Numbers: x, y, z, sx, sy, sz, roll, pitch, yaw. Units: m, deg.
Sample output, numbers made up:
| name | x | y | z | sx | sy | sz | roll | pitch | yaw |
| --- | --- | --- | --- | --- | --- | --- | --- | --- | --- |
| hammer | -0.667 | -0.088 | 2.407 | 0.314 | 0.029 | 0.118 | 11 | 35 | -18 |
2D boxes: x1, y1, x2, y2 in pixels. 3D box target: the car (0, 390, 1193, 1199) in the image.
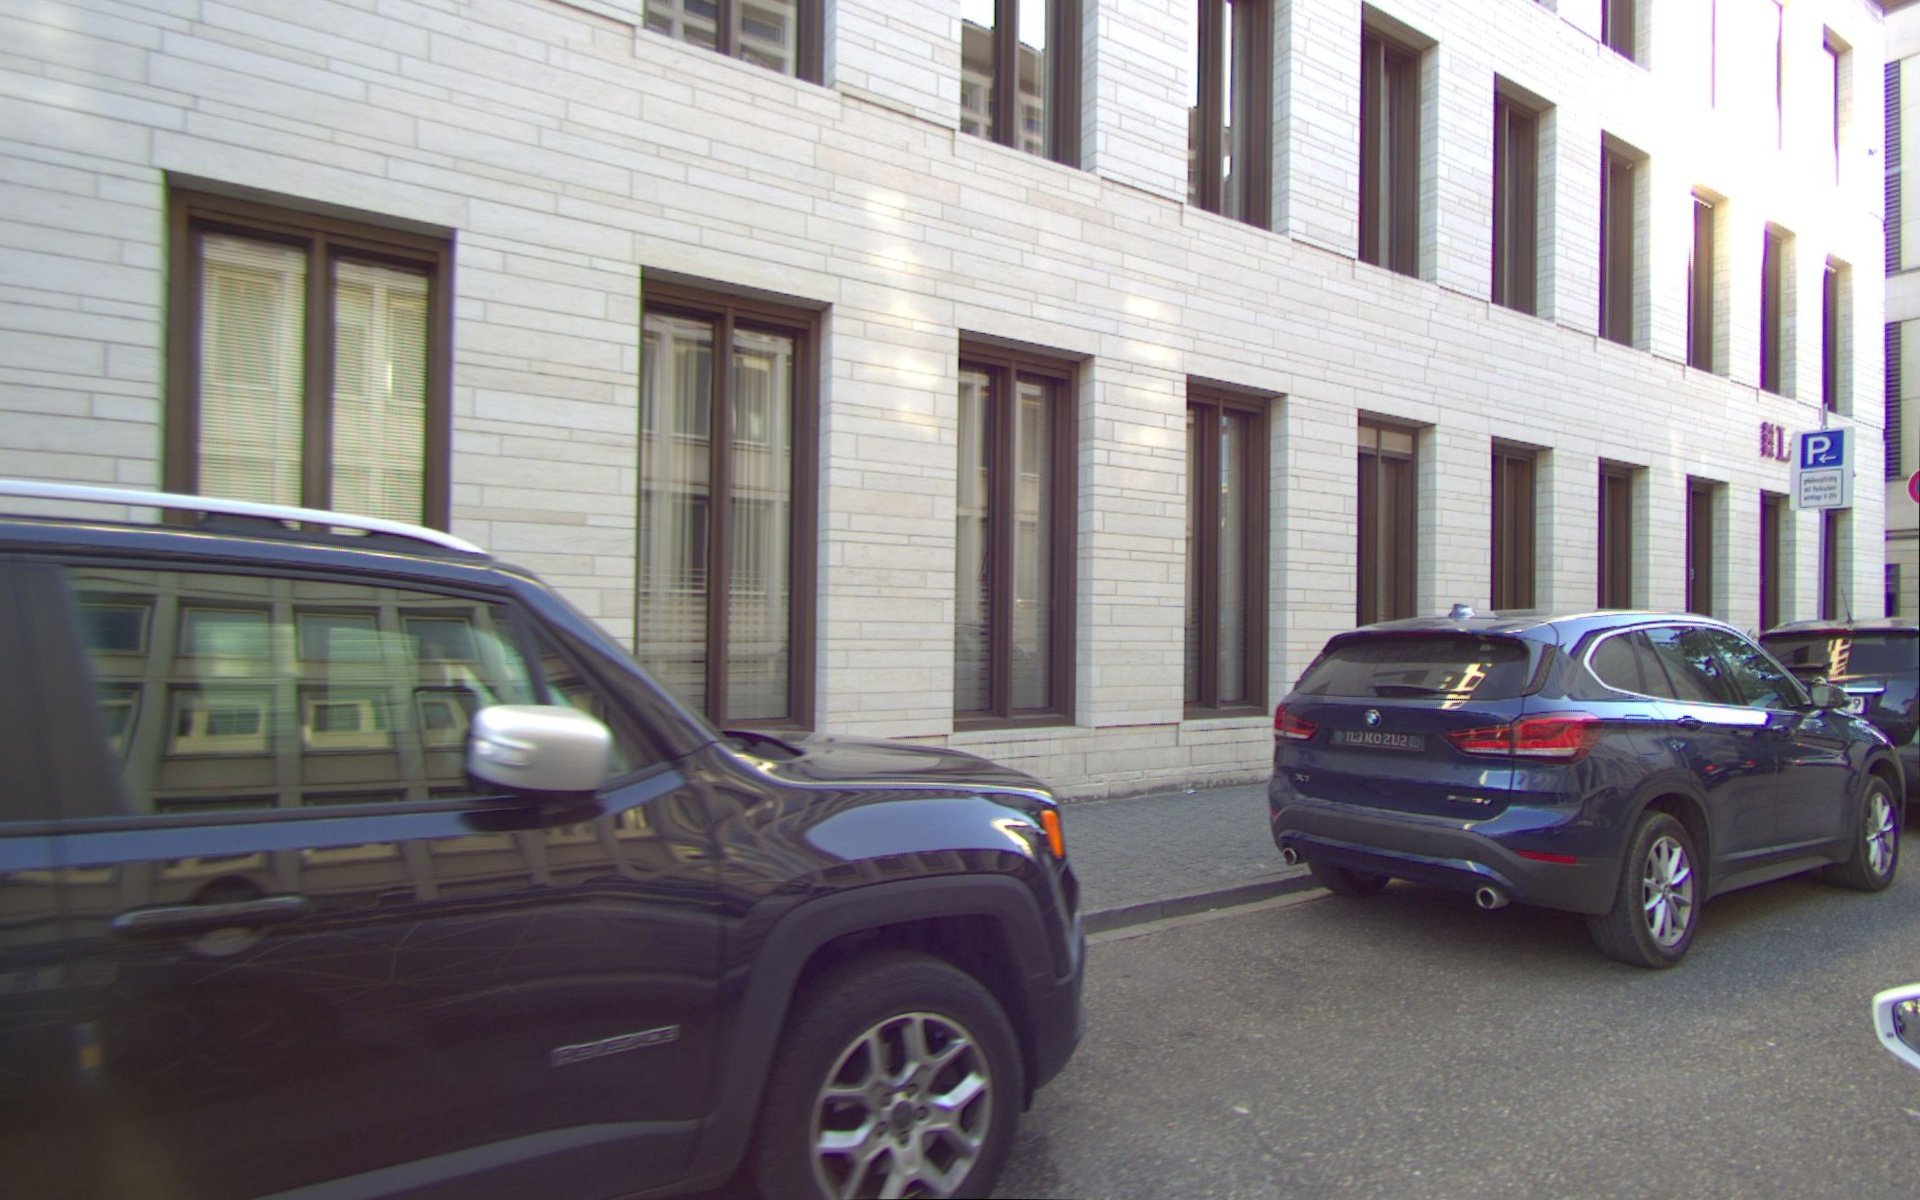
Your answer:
| name | x | y | z | sx | sy | sz | roll | pitch | yaw |
| --- | --- | --- | --- | --- | --- | --- | --- | --- | --- |
| car | -1.540 | 0.619 | 2.374 | 3.974 | 1.737 | 1.813 | 1 | -3 | -33 |

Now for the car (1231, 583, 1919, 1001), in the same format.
| name | x | y | z | sx | sy | sz | roll | pitch | yaw |
| --- | --- | --- | --- | --- | --- | --- | --- | --- | --- |
| car | 3.650 | 0.820 | 5.758 | 4.108 | 1.615 | 1.730 | 1 | -3 | -33 |

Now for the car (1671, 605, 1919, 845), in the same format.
| name | x | y | z | sx | sy | sz | roll | pitch | yaw |
| --- | --- | --- | --- | --- | --- | --- | --- | --- | --- |
| car | 8.285 | 0.953 | 8.785 | 4.215 | 1.699 | 1.814 | 1 | -3 | -31 |
